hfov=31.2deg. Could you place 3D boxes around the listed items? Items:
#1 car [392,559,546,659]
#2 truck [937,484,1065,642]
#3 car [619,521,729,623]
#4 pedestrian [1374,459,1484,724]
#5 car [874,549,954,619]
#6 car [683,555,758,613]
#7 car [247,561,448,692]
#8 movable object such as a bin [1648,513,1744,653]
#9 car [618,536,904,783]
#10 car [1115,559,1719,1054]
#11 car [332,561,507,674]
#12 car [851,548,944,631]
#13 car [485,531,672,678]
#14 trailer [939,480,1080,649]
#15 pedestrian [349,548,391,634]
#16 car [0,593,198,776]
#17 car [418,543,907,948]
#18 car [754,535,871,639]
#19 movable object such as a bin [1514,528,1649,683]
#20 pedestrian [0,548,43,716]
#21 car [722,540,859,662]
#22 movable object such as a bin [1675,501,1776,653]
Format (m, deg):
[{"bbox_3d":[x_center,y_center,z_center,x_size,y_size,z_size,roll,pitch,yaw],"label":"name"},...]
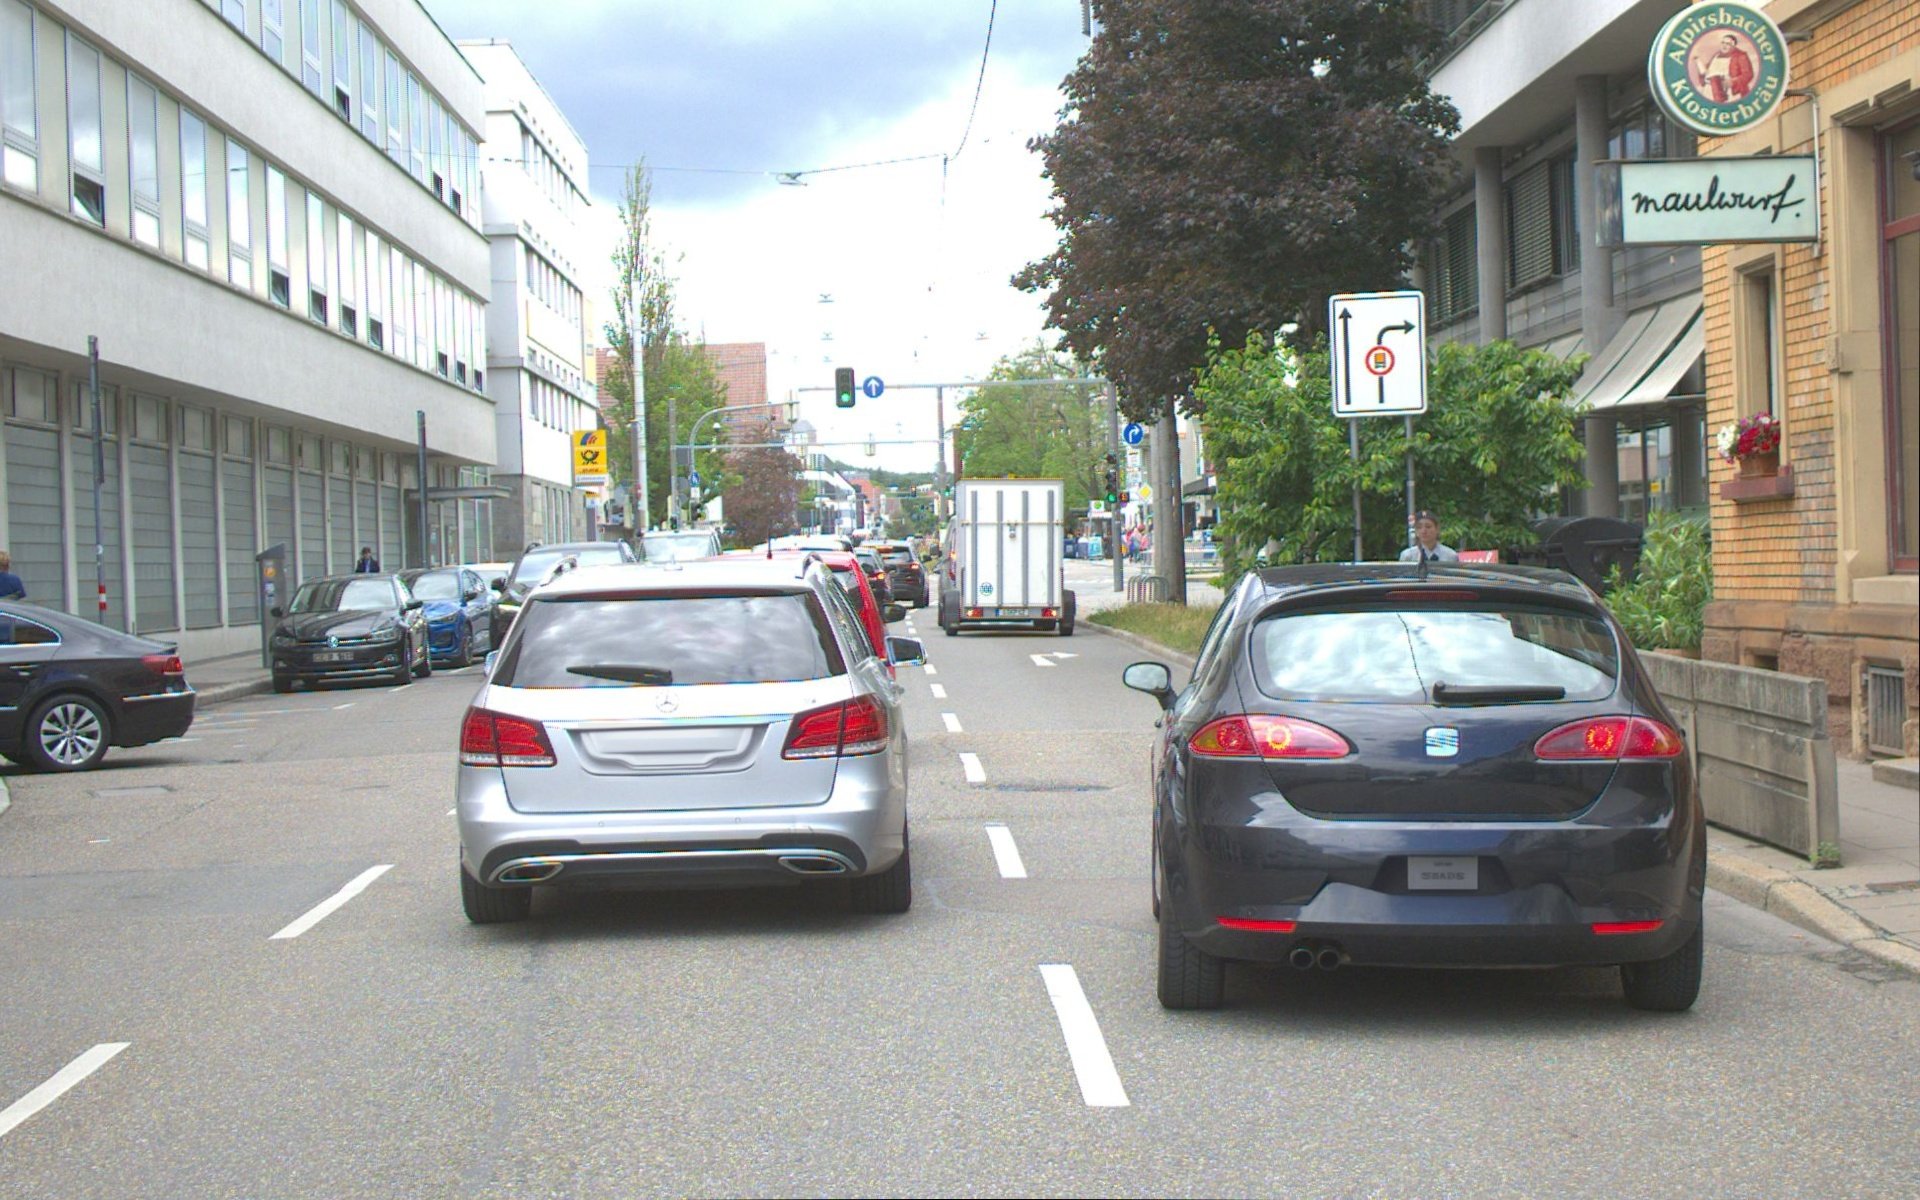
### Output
[{"bbox_3d":[-7.954,0.115,56.023,1.993,1.511,4.175,-1,1,-2],"label":"car"},{"bbox_3d":[0.680,-0.645,59.173,1.993,2.598,3.260,-1,1,-2],"label":"truck"},{"bbox_3d":[-6.050,-0.617,73.134,1.993,2.007,4.903,-3,1,-2],"label":"car"},{"bbox_3d":[3.618,-0.069,26.566,0.693,2.007,0.677,-1,1,-2],"label":"pedestrian"},{"bbox_3d":[-1.109,-0.403,81.338,1.803,1.596,3.738,0,1,-2],"label":"car"},{"bbox_3d":[-6.318,-0.446,91.028,1.769,1.408,4.175,-3,1,-2],"label":"car"},{"bbox_3d":[-7.863,0.300,44.472,1.912,1.511,4.175,-3,1,-2],"label":"car"},{"bbox_3d":[8.264,-0.187,38.615,0.821,1.499,0.732,-4,0,0],"label":"movable object such as a bin"},{"bbox_3d":[-1.343,0.355,24.036,1.803,1.547,3.738,-1,1,-2],"label":"car"},{"bbox_3d":[1.498,0.600,12.176,1.766,1.428,3.828,-1,1,4],"label":"car"},{"bbox_3d":[-7.861,0.219,50.319,1.993,1.511,4.175,-1,1,-2],"label":"car"},{"bbox_3d":[-1.271,-0.223,68.327,1.803,1.596,3.738,0,1,-2],"label":"car"},{"bbox_3d":[-4.918,0.022,44.845,1.993,1.733,4.554,-3,1,-2],"label":"car"},{"bbox_3d":[0.758,-0.593,56.389,1.993,2.598,5.350,-1,1,-2],"label":"trailer"},{"bbox_3d":[-11.237,-0.181,65.503,0.656,1.617,0.681,-1,1,0],"label":"pedestrian"},{"bbox_3d":[-8.393,0.686,27.025,4.397,1.361,1.786,-2,1,-24],"label":"car"},{"bbox_3d":[-1.179,0.519,14.837,1.803,1.487,3.738,-1,1,-2],"label":"car"},{"bbox_3d":[-2.334,-0.233,54.837,1.803,1.596,3.738,0,1,-2],"label":"car"},{"bbox_3d":[6.210,0.047,34.448,0.943,1.465,1.446,-3,1,-3],"label":"movable object such as a bin"},{"bbox_3d":[-10.225,0.333,36.644,0.642,1.763,0.810,-2,1,-2],"label":"pedestrian"},{"bbox_3d":[-2.289,-0.016,47.072,1.803,1.596,3.738,0,1,-2],"label":"car"},{"bbox_3d":[8.257,-0.245,37.102,0.821,1.584,0.732,-4,0,0],"label":"movable object such as a bin"}]
